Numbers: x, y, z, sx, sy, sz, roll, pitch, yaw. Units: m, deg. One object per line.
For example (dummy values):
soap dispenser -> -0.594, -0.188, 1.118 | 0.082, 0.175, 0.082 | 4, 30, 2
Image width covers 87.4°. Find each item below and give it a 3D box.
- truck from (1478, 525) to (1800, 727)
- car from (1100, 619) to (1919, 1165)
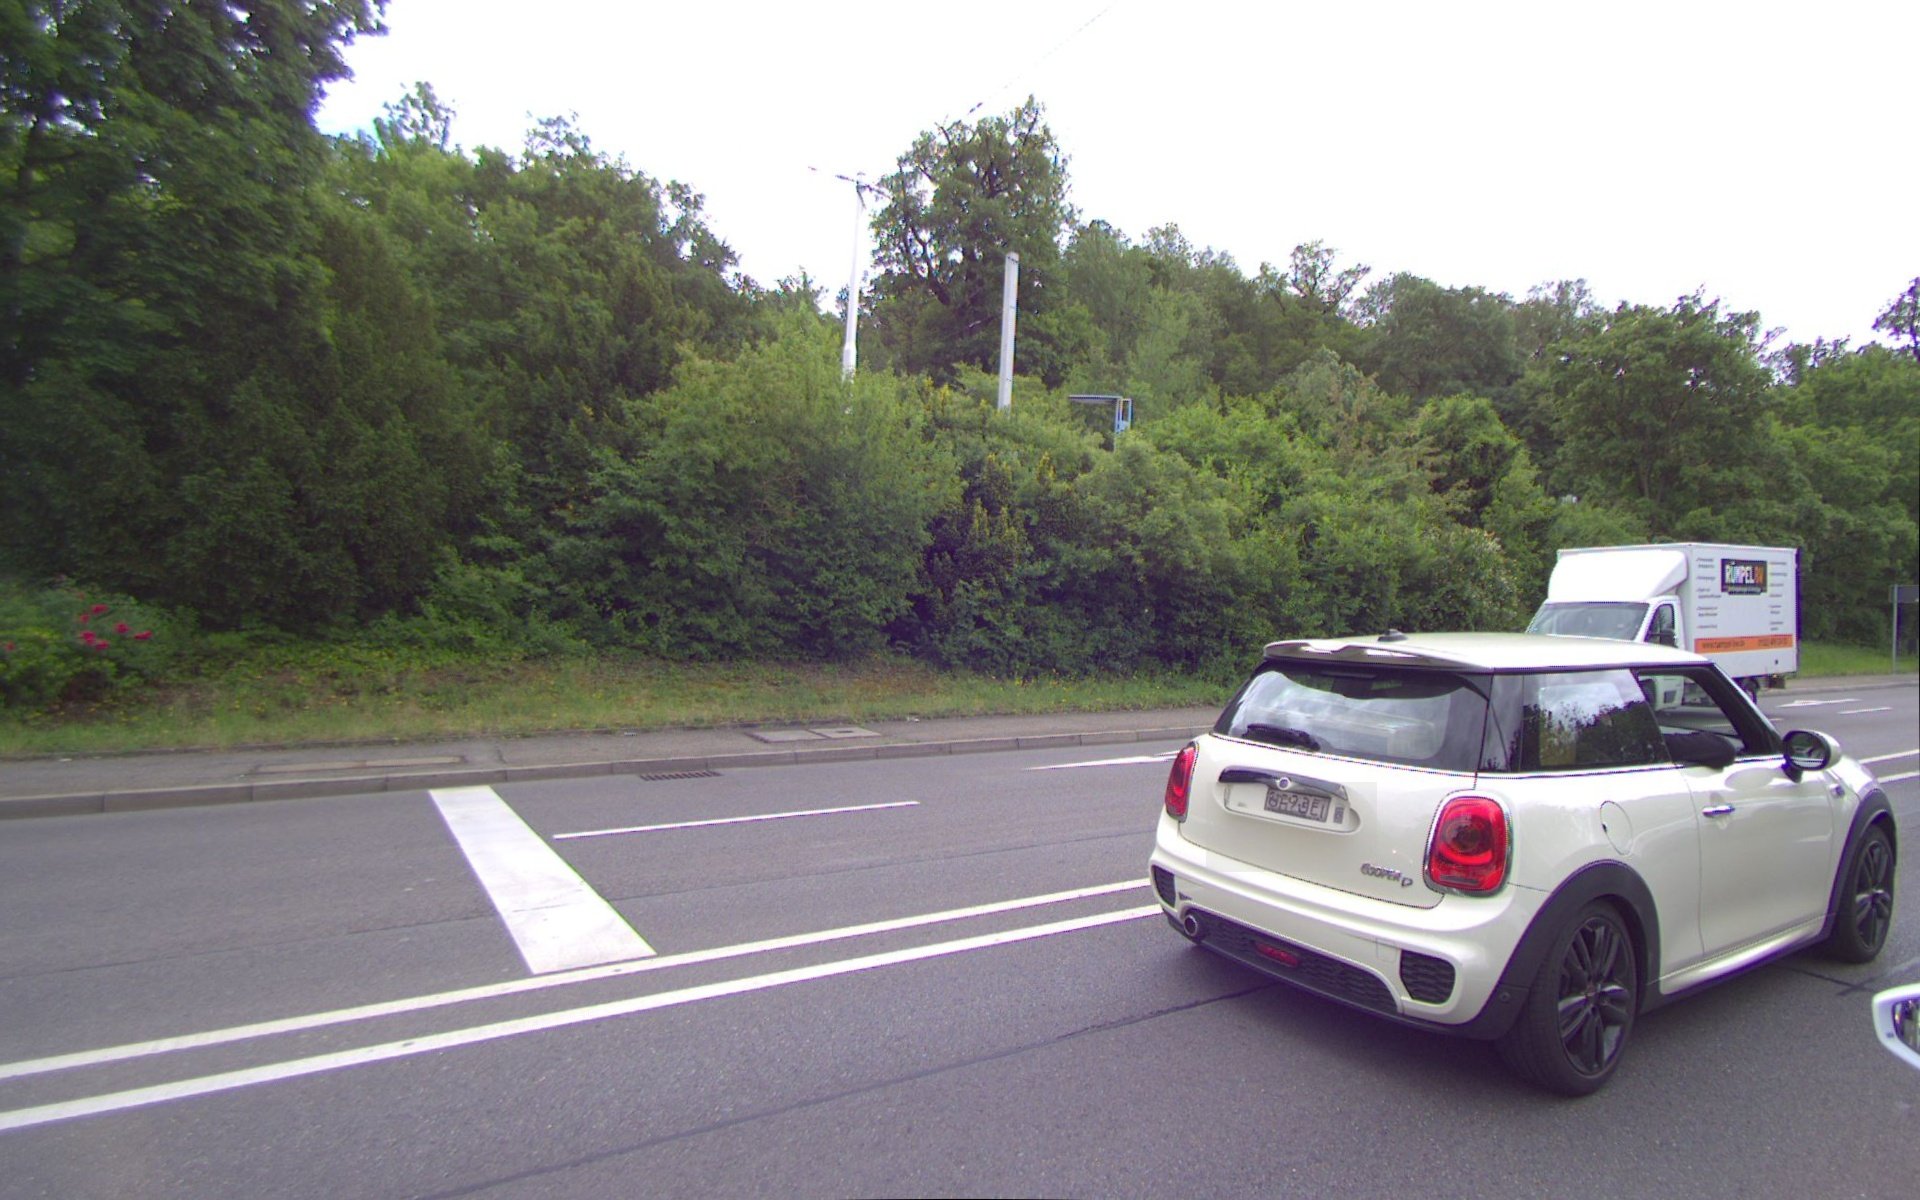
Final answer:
truck -> 12.415, 0.524, 18.167 | 6.903, 3.091, 2.280 | 2, -2, -33
car -> 2.582, 0.838, 4.400 | 3.691, 1.443, 1.675 | 1, -1, -32
